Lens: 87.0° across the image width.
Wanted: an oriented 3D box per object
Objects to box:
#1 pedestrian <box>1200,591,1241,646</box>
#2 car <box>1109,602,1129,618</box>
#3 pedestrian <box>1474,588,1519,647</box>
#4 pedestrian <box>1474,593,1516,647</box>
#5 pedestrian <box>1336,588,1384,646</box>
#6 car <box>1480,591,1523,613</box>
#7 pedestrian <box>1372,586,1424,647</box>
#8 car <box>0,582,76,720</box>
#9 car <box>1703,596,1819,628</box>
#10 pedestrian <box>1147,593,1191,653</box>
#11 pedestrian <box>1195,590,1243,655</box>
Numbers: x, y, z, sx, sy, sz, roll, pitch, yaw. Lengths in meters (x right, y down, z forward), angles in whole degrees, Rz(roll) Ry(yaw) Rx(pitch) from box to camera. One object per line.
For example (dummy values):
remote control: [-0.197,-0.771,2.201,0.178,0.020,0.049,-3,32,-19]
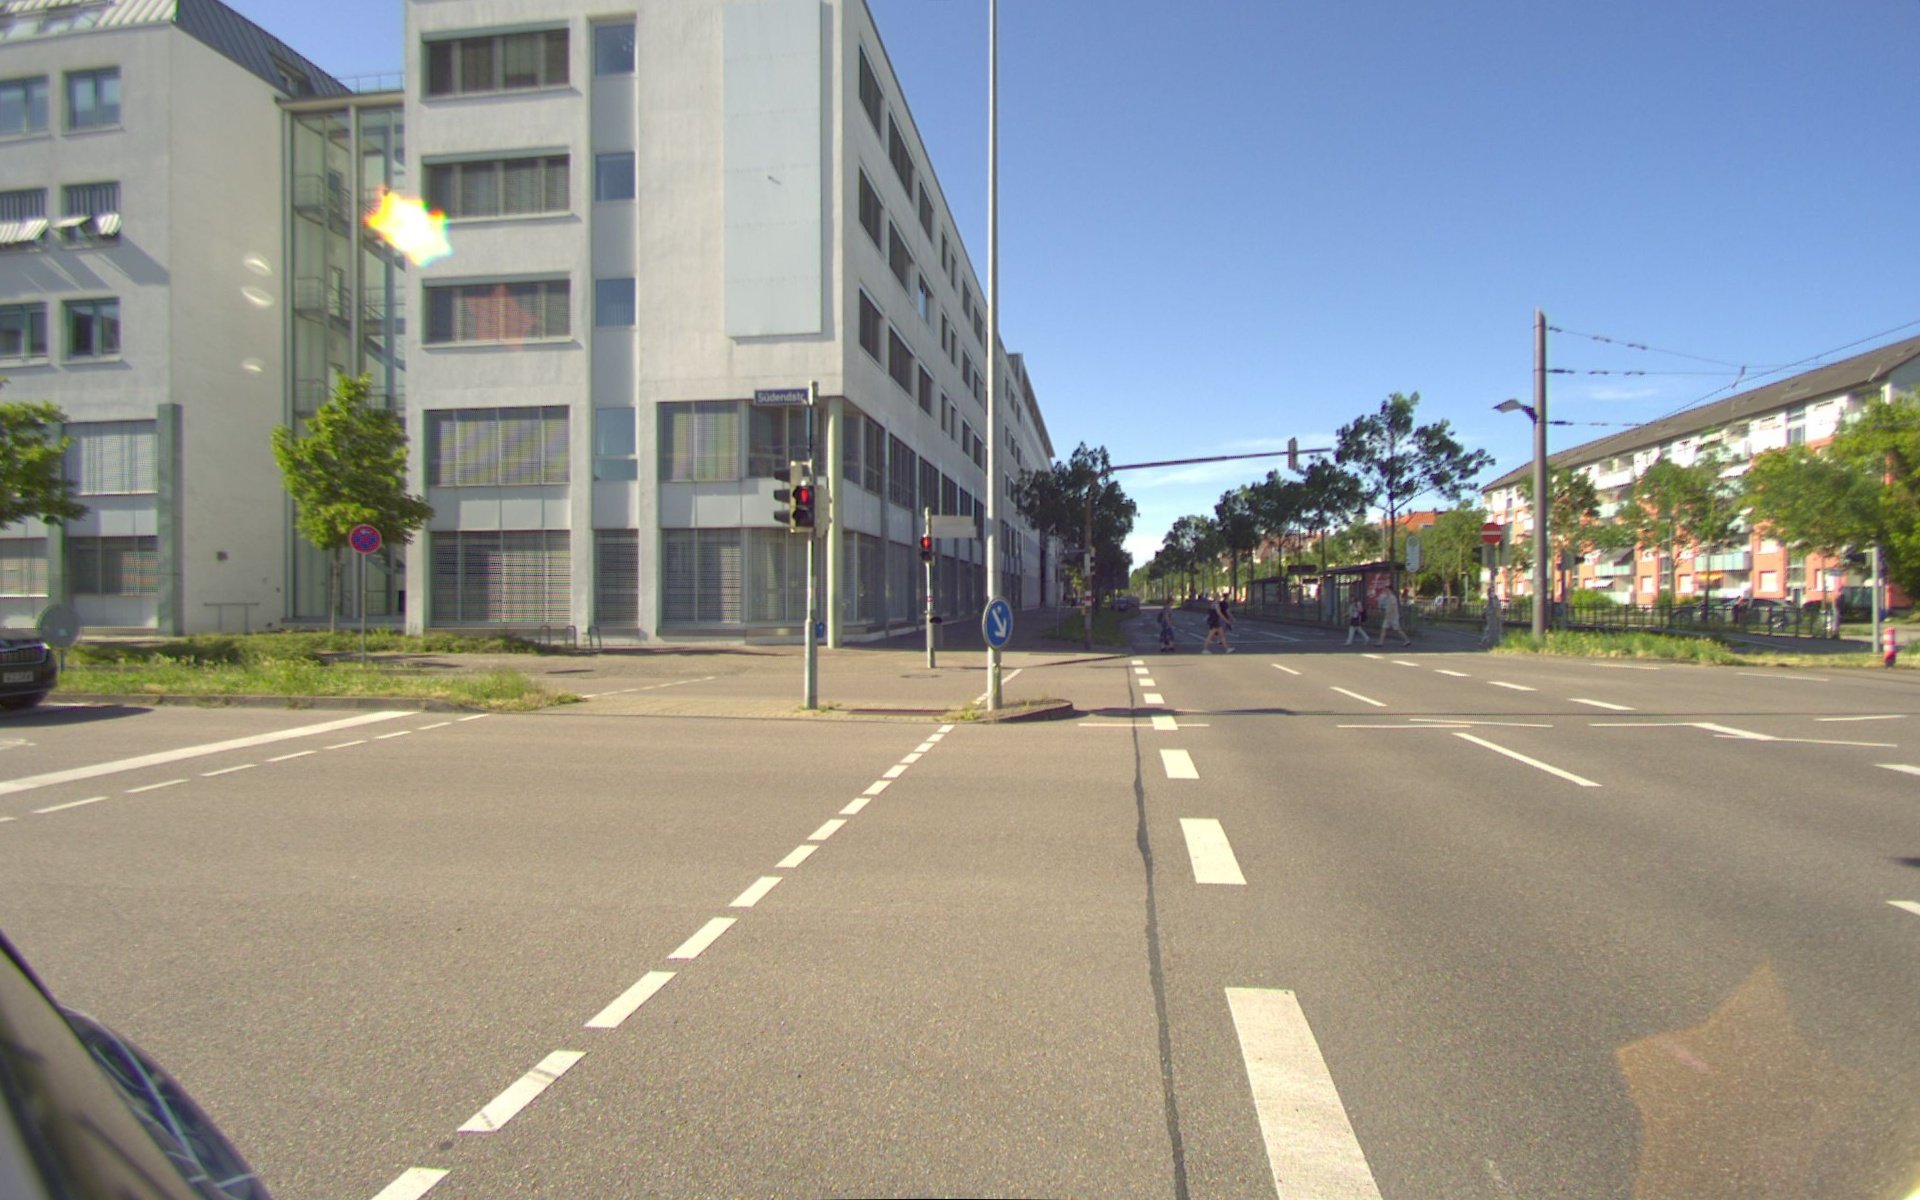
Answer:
pedestrian: [8.336,0.601,32.391,1.139,1.739,0.812,0,-1,4]
car: [15.341,0.930,97.591,1.760,1.531,3.992,0,0,7]
pedestrian: [16.033,0.522,30.262,1.136,1.739,0.815,0,-1,-40]
pedestrian: [15.432,0.577,29.201,0.847,1.545,0.725,0,-1,4]
pedestrian: [12.297,0.522,31.147,1.139,1.739,0.812,0,-1,4]
car: [47.906,0.187,89.587,1.976,1.863,3.992,0,0,7]
pedestrian: [12.917,0.490,29.869,1.139,1.784,0.923,0,-1,4]
car: [-13.753,0.617,12.539,4.426,1.640,1.755,0,2,8]
car: [40.957,0.573,51.820,1.668,1.442,4.405,-2,3,-42]
pedestrian: [6.138,0.672,29.770,1.139,1.739,0.812,0,-1,4]
pedestrian: [7.050,0.618,27.605,1.139,1.739,0.812,0,-1,4]
